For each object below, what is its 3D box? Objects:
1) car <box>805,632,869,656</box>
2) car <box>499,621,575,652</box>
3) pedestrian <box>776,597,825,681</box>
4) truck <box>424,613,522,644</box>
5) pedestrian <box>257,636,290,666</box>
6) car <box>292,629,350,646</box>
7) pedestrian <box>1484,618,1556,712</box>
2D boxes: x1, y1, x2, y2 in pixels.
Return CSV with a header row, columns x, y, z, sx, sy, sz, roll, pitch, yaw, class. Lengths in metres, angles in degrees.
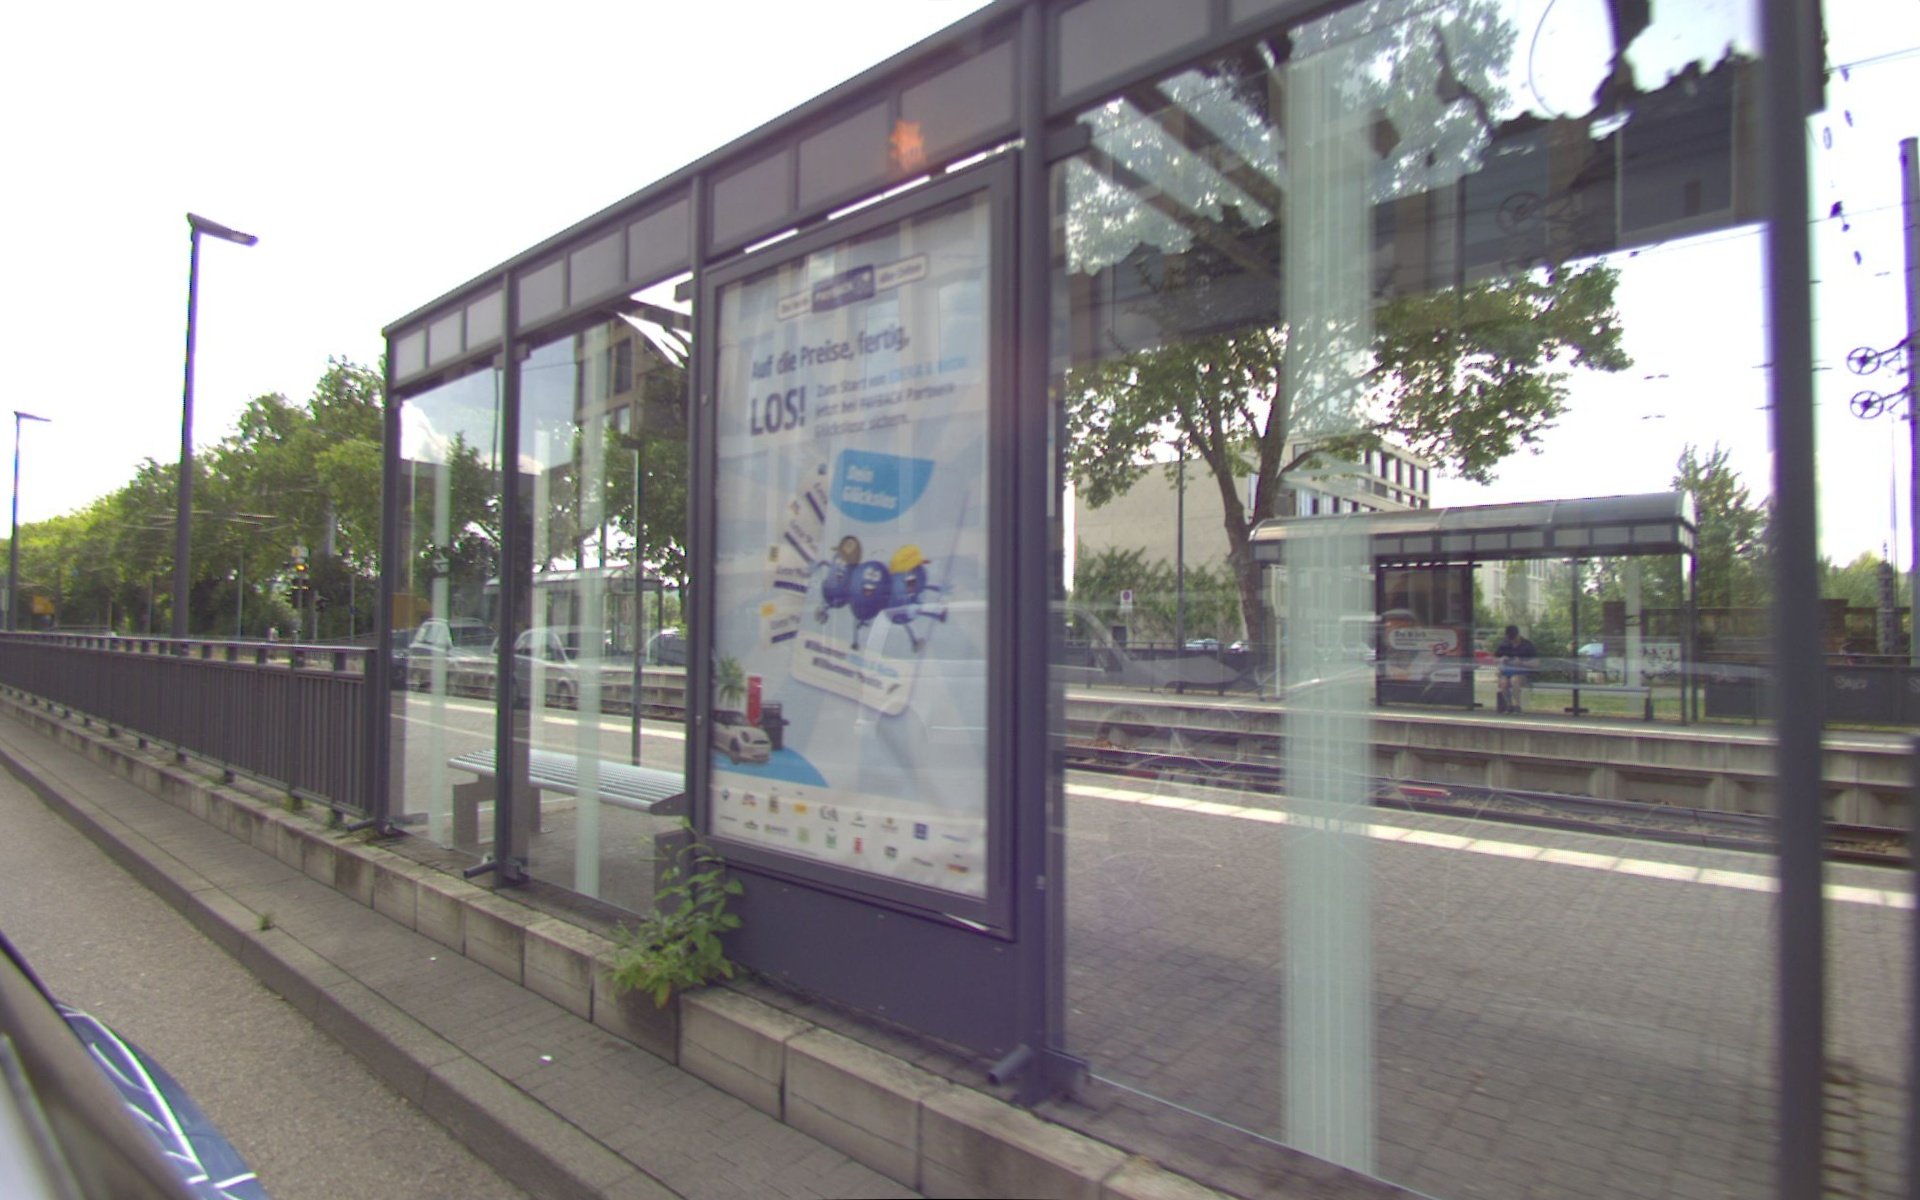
x,y,z,sx,sy,sz,roll,pitch,yaw,class
-7.825,2.792,64.096,3.998,1.487,1.779,-2,-3,41,car
-27.471,2.385,65.808,2.000,1.845,4.053,-1,-4,42,car
-3.617,0.892,23.001,0.864,1.859,0.699,-2,-3,40,pedestrian
-70.771,4.251,147.415,2.748,4.105,12.649,-1,-4,42,truck
-32.152,2.384,47.400,0.912,1.354,0.862,1,-3,8,pedestrian
-56.139,3.263,88.955,1.999,1.453,3.945,-1,-3,41,car
7.929,0.906,14.322,0.767,1.279,0.546,-2,-3,43,pedestrian
